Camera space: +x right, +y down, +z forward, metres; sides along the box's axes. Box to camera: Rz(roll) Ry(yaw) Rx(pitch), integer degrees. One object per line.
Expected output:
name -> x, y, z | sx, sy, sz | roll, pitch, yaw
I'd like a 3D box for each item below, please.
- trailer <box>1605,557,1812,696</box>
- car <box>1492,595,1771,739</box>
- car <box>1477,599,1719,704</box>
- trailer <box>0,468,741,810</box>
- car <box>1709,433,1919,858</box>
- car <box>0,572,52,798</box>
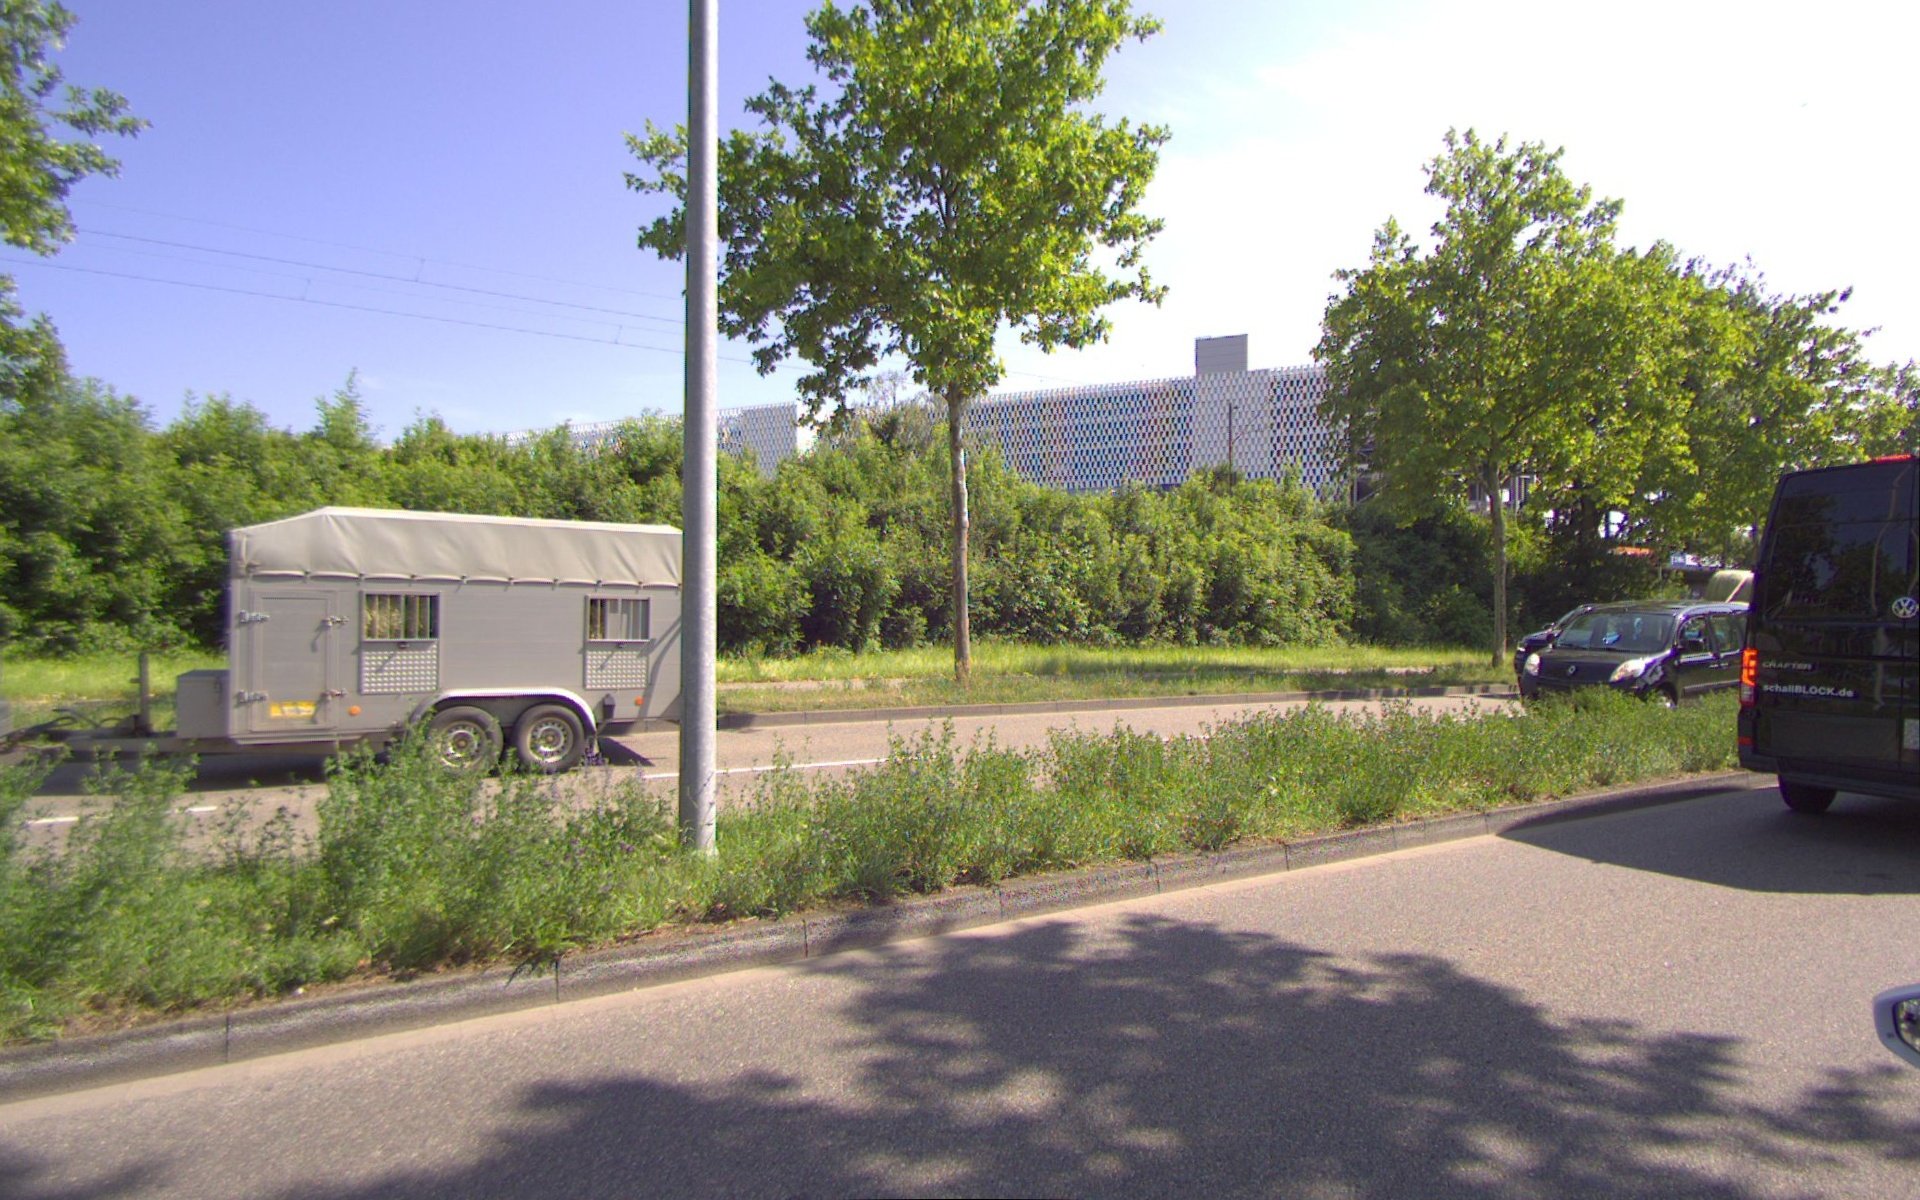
trailer -> 16.523, 0.563, 22.123 | 4.772, 2.780, 1.871 | 1, 1, -30
car -> 9.896, 0.906, 14.742 | 4.182, 1.833, 1.722 | 1, 1, -30
car -> 12.655, 0.972, 19.819 | 5.313, 1.813, 1.756 | 1, 1, -30
trailer -> -4.971, 0.318, 8.943 | 5.473, 2.295, 2.298 | 1, -1, -30
car -> 8.536, 0.343, 7.906 | 6.096, 2.642, 2.006 | 1, 0, -31
car -> -9.005, 0.573, 6.516 | 4.310, 1.643, 1.707 | 1, -1, -30
